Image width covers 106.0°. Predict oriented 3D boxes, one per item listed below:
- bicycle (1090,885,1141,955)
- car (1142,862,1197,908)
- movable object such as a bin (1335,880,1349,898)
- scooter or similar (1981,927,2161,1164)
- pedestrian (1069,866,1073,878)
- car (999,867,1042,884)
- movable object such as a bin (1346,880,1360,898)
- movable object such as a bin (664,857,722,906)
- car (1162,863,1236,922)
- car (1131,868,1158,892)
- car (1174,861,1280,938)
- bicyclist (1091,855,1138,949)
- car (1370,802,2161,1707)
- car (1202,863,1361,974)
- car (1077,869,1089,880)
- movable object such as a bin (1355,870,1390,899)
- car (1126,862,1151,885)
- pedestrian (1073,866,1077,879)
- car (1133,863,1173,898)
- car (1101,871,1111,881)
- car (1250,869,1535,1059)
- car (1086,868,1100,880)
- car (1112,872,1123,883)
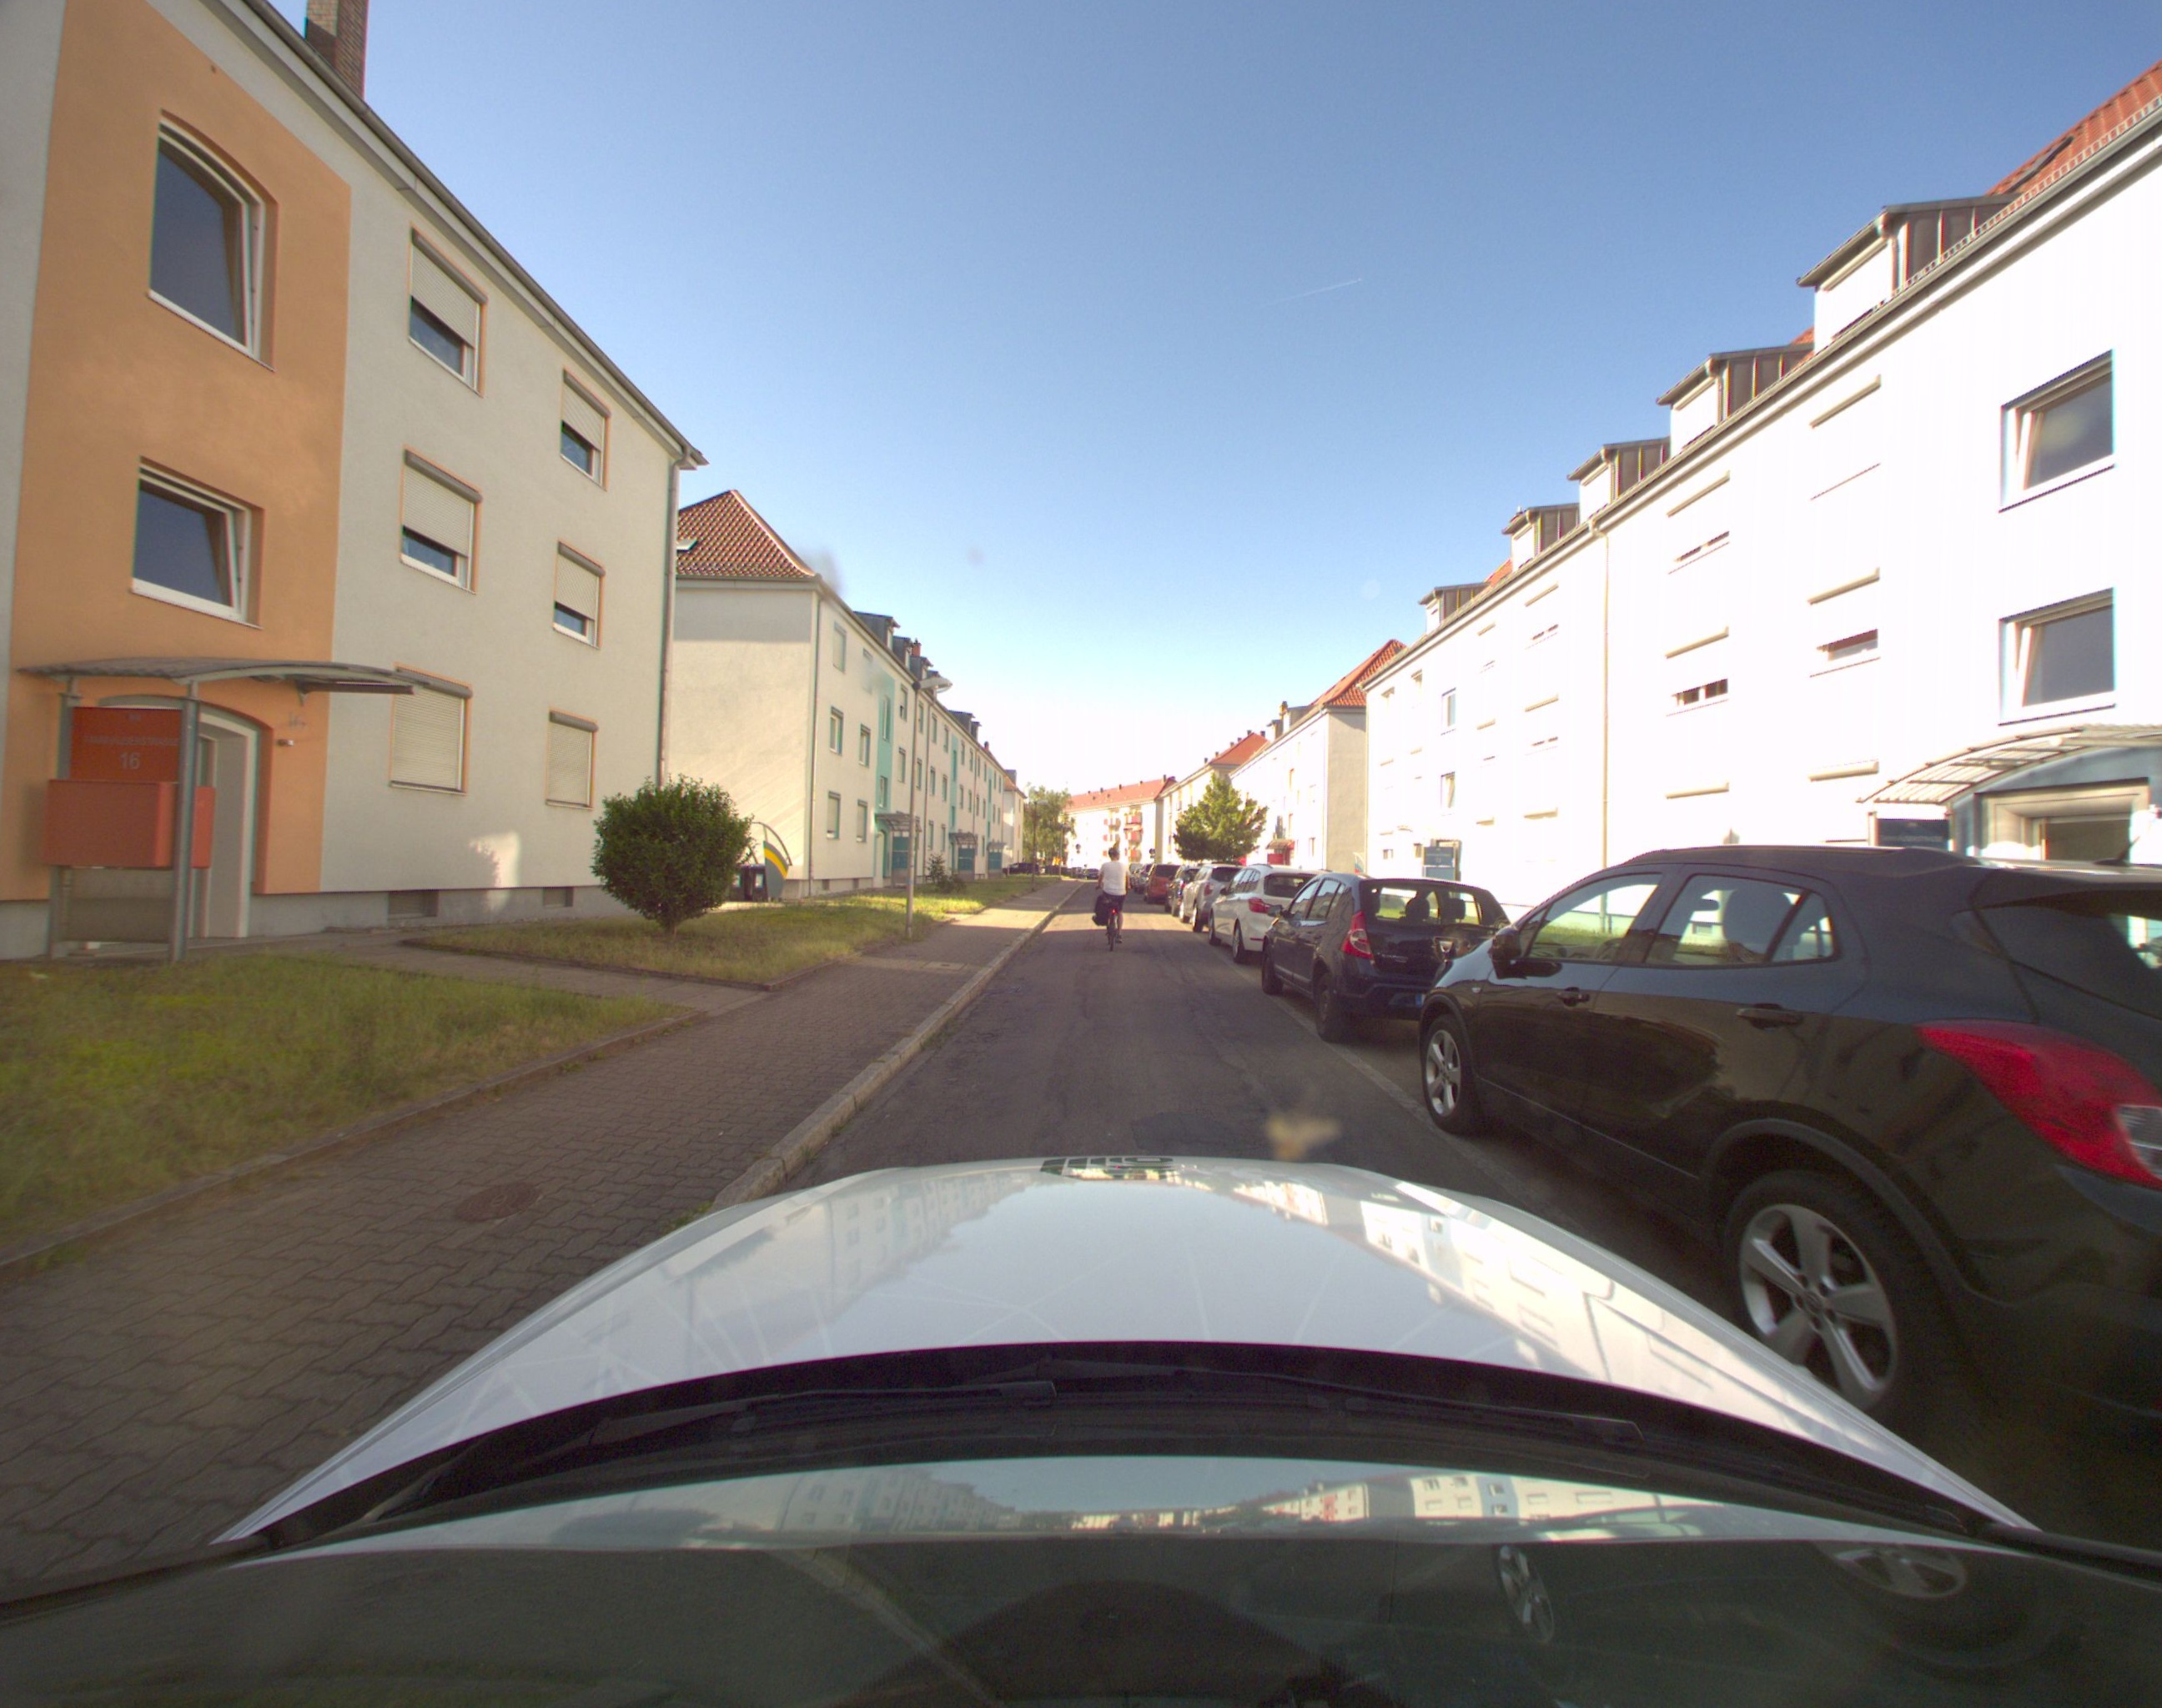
[{"bbox_3d":[0.585,1.154,14.737,0.806,1.128,2.101,0,-1,-1],"label":"bicycle"},{"bbox_3d":[3.547,1.237,33.269,1.855,1.668,4.128,3,-1,1],"label":"car"},{"bbox_3d":[13.177,1.768,41.183,0.521,0.886,0.633,1,-1,2],"label":"movable object such as a bin"},{"bbox_3d":[5.856,1.031,4.280,0.482,1.149,1.589,-2,-1,2],"label":"scooter or similar"},{"bbox_3d":[-1.193,2.091,96.543,0.433,1.427,0.543,0,-1,1],"label":"pedestrian"},{"bbox_3d":[-6.042,2.131,81.828,4.221,1.638,1.581,1,-1,-3],"label":"car"},{"bbox_3d":[13.731,1.762,41.159,0.521,0.886,0.633,1,-1,2],"label":"movable object such as a bin"},{"bbox_3d":[-10.954,0.771,23.030,1.250,1.356,0.903,1,-1,-10],"label":"movable object such as a bin"},{"bbox_3d":[3.601,1.137,25.604,1.706,1.596,4.398,4,-1,1],"label":"car"},{"bbox_3d":[4.096,1.678,53.103,1.553,1.411,3.934,2,-1,2],"label":"car"},{"bbox_3d":[3.511,1.047,20.397,1.745,1.617,4.450,3,-1,0],"label":"car"},{"bbox_3d":[0.588,0.846,14.769,0.806,1.643,0.898,0,-1,-1],"label":"bicyclist"},{"bbox_3d":[2.913,0.798,3.646,1.776,1.648,4.471,2,-1,3],"label":"car"},{"bbox_3d":[3.305,0.988,14.288,1.684,1.575,4.434,2,-1,1],"label":"car"},{"bbox_3d":[0.302,2.823,111.507,1.465,1.335,3.139,-2,-1,-1],"label":"car"},{"bbox_3d":[14.679,1.545,41.067,1.355,1.416,1.188,1,-1,1],"label":"movable object such as a bin"},{"bbox_3d":[4.739,1.592,67.332,1.669,1.739,3.941,2,-1,0],"label":"car"},{"bbox_3d":[-0.694,2.180,96.515,0.432,1.574,0.543,0,-1,1],"label":"pedestrian"},{"bbox_3d":[3.827,1.381,43.854,1.695,1.671,4.378,3,-1,0],"label":"car"},{"bbox_3d":[3.969,3.517,129.539,1.465,1.516,3.076,2,-1,-1],"label":"car"},{"bbox_3d":[2.980,0.937,8.742,1.635,1.498,4.159,1,-1,3],"label":"car"},{"bbox_3d":[1.476,2.471,100.452,1.466,1.335,3.137,-2,-1,-3],"label":"car"},{"bbox_3d":[5.181,3.342,116.870,1.377,1.497,3.076,2,-1,0],"label":"car"}]
